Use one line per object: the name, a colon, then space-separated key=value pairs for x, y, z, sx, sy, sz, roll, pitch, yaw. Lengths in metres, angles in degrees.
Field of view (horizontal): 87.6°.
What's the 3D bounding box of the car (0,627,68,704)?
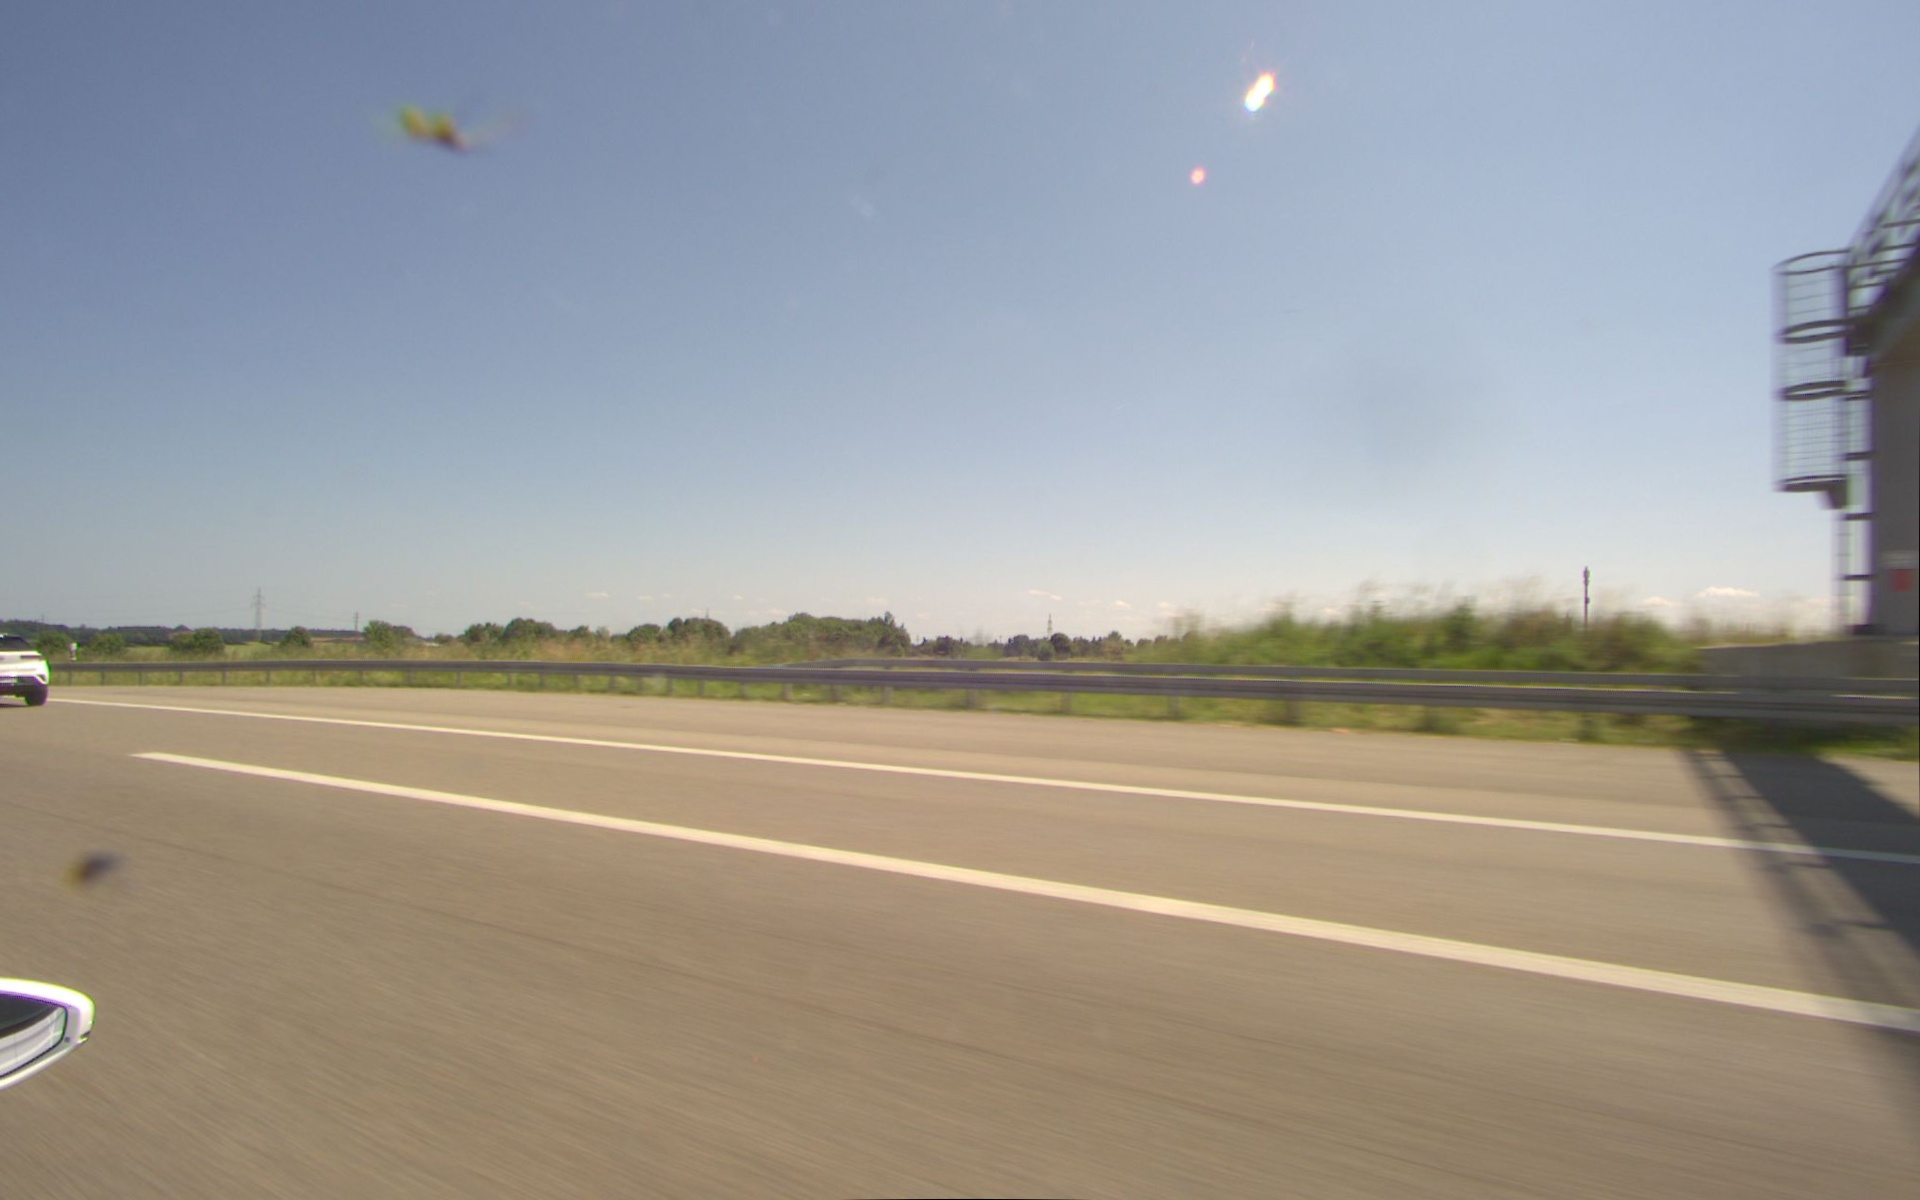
car: x=-21.158 y=1.356 z=21.412 sx=4.198 sy=1.549 sz=1.889 roll=-1 pitch=-2 yaw=30
